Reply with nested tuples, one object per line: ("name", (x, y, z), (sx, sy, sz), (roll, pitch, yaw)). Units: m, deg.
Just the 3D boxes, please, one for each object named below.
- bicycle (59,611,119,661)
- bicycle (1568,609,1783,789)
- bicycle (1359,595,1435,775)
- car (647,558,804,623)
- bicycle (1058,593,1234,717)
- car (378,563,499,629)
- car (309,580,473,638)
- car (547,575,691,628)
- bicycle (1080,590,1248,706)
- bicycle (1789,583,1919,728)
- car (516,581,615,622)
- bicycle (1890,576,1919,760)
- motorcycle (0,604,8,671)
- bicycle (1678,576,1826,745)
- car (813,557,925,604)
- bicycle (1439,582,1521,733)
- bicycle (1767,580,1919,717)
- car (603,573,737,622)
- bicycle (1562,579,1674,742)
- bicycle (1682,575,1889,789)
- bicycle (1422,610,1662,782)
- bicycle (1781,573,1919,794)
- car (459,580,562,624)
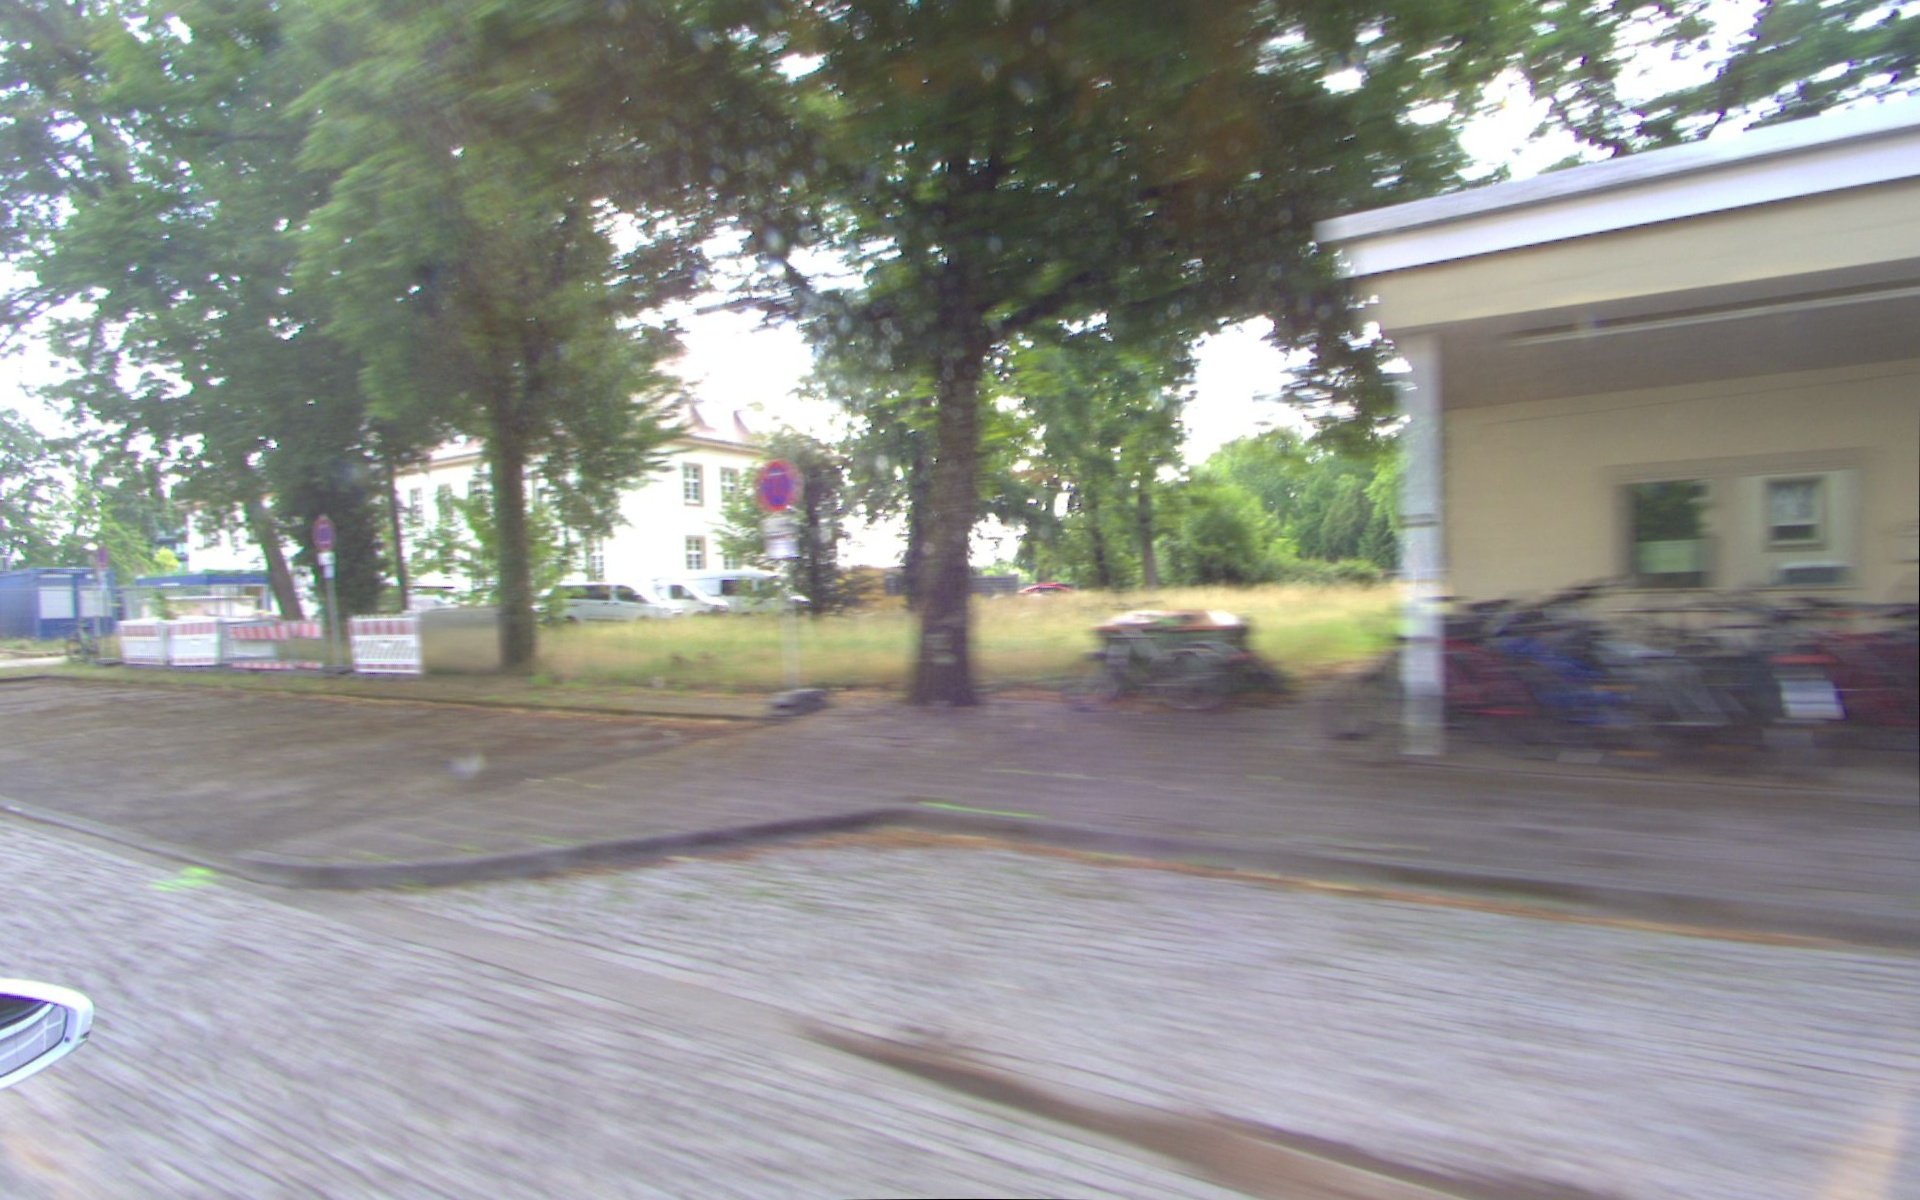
("bicycle", (-22.077, 0.899, 25.376), (1.878, 1.185, 0.640), (-1, 2, 34))
("bicycle", (4.742, 0.598, 6.762), (0.316, 0.990, 1.634), (-2, 2, 1))
("bicycle", (3.227, 0.566, 7.463), (0.332, 1.124, 1.677), (-1, 3, 18))
("car", (-10.099, -0.384, 43.482), (6.297, 2.612, 2.000), (-1, 0, 2))
("bicycle", (1.848, 0.526, 10.029), (1.611, 1.132, 0.595), (-1, 3, 30))
("car", (-22.139, -0.107, 42.417), (5.828, 2.589, 1.988), (-1, 0, 34))
("car", (-20.617, 0.269, 36.506), (1.879, 1.947, 4.847), (1, 2, 32))
("car", (-12.974, 0.072, 38.258), (4.780, 1.849, 2.000), (-1, 0, 4))
("bicycle", (2.144, 0.485, 10.581), (1.611, 1.132, 0.595), (-1, 3, 30))
("bicycle", (7.582, 0.419, 7.796), (1.652, 1.091, 0.478), (-1, 3, 20))
("car", (-18.976, 0.115, 48.085), (4.807, 1.849, 1.989), (-1, 0, 33))
("bicycle", (6.381, 0.472, 6.088), (0.412, 1.206, 1.631), (-1, 3, 19))
("motorcycle", (-22.428, 0.887, 21.815), (0.745, 1.505, 2.274), (-1, 2, 26))
("bicycle", (6.378, 0.426, 8.151), (0.599, 1.181, 1.738), (-1, 3, 27))
("car", (-4.364, -0.908, 49.196), (2.181, 2.123, 6.129), (-1, -1, 32))
("bicycle", (4.720, 0.467, 9.117), (0.599, 1.181, 1.738), (-1, 3, 27))
("bicycle", (7.815, 0.392, 8.319), (1.652, 1.091, 0.478), (-1, 3, 20))
("car", (-11.738, -0.077, 40.724), (4.780, 1.849, 2.000), (-1, 0, 4))
("bicycle", (5.514, 0.446, 8.471), (0.599, 1.181, 1.738), (-1, 3, 27))
("bicycle", (5.353, 0.460, 6.605), (0.465, 1.206, 1.631), (-1, 3, 18))
("bicycle", (4.096, 0.621, 7.230), (0.744, 0.990, 1.745), (-2, 2, 1))
("bicycle", (5.840, 0.455, 6.359), (0.412, 1.206, 1.631), (-1, 3, 19))
("car", (-20.464, 0.112, 45.547), (4.807, 1.849, 1.989), (-1, 0, 33))
